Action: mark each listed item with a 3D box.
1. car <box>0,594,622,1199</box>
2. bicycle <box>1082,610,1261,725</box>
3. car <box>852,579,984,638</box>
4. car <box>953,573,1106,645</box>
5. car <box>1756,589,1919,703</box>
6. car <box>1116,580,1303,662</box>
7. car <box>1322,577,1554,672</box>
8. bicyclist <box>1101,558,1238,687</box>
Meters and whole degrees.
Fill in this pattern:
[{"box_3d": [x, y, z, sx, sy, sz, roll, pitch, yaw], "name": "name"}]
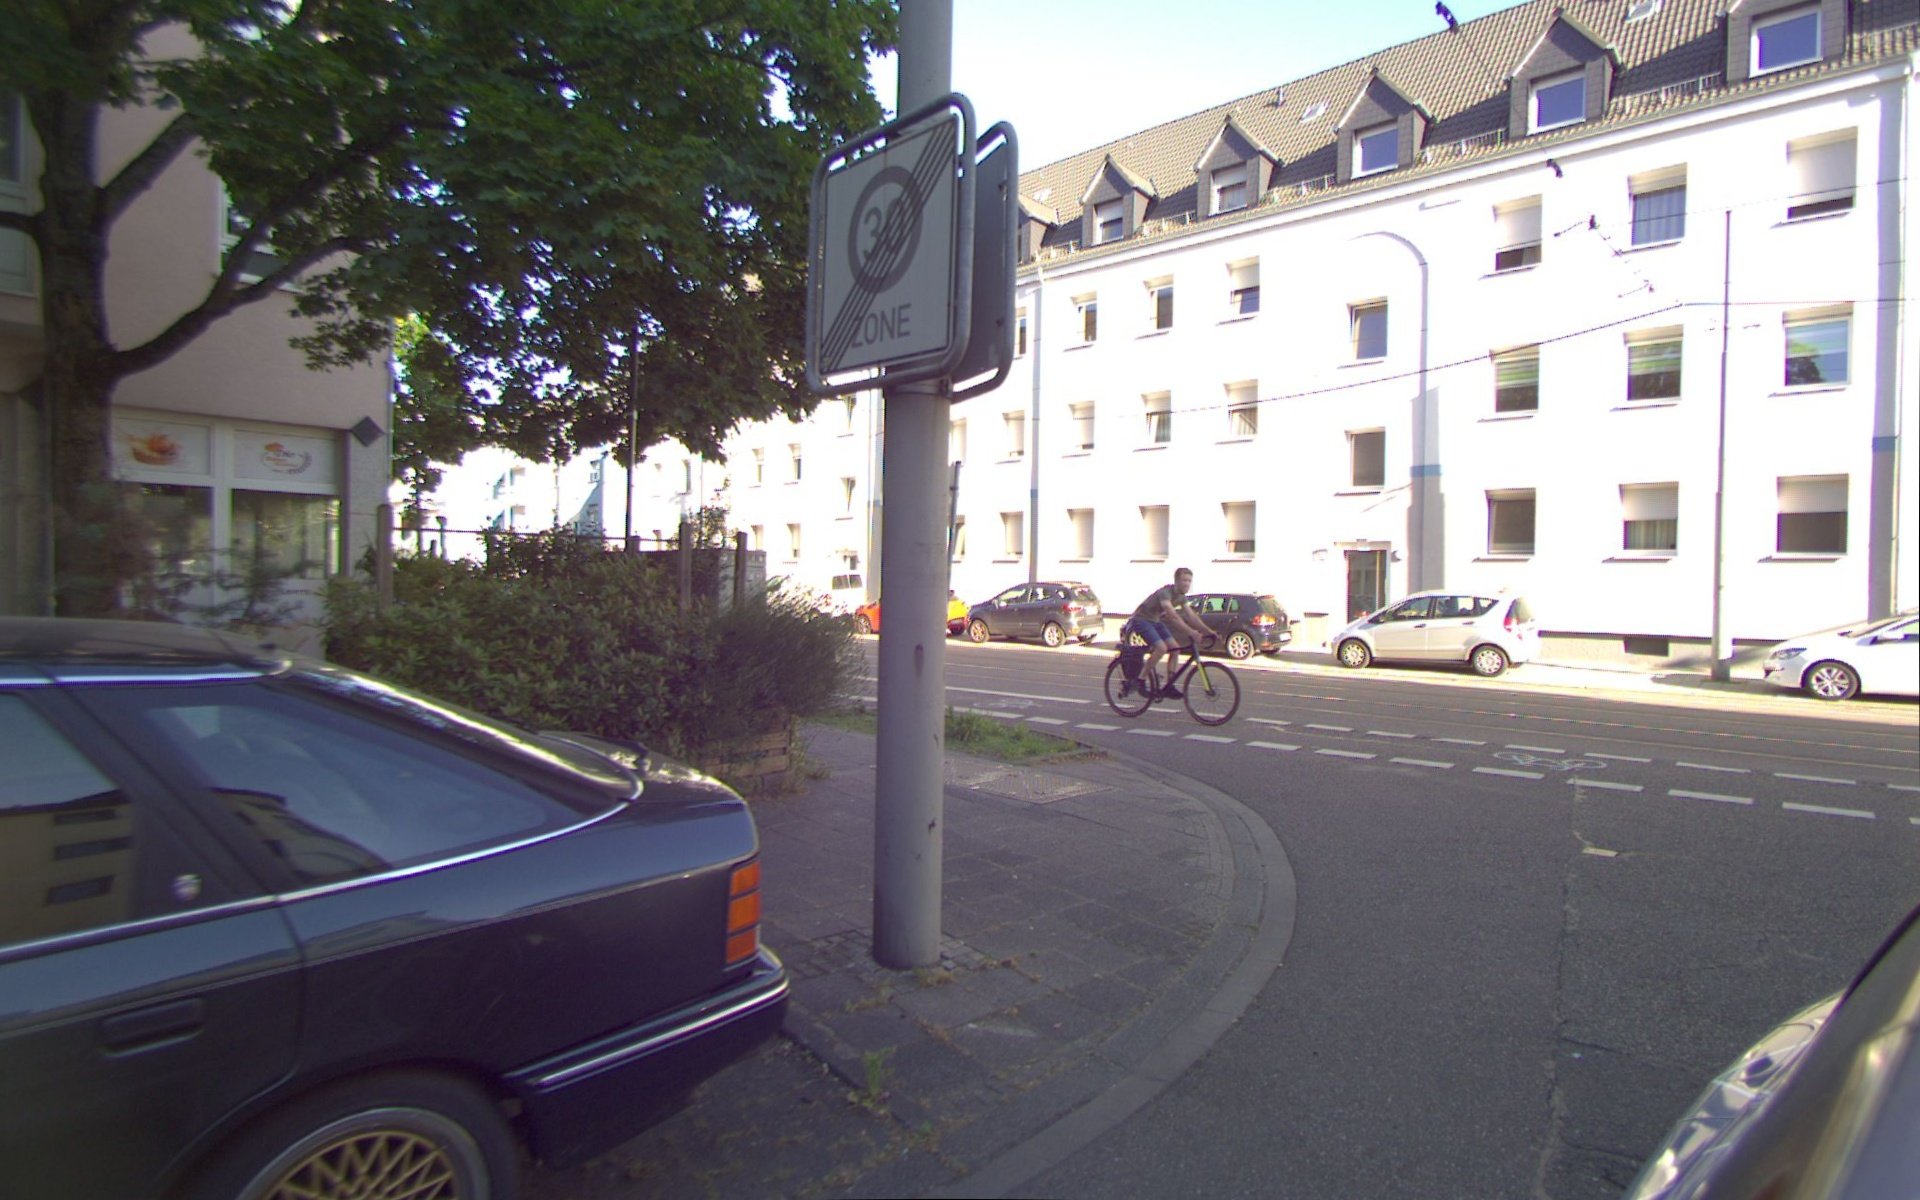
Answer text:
[{"box_3d": [-2.912, 0.718, 1.179, 4.492, 1.405, 1.711, -1, 1, -42], "name": "car"}, {"box_3d": [2.362, 0.717, 11.478, 1.952, 1.115, 0.615, 2, 3, 41], "name": "bicycle"}, {"box_3d": [-1.296, 0.191, 30.310, 3.765, 1.501, 1.775, 2, 5, 43], "name": "car"}, {"box_3d": [1.817, 0.176, 27.149, 3.887, 1.689, 1.643, 2, 5, 40], "name": "car"}, {"box_3d": [14.924, 0.697, 15.269, 4.492, 1.590, 1.660, 2, 3, 42], "name": "car"}, {"box_3d": [5.775, 0.414, 23.684, 3.992, 1.555, 1.574, 3, 6, 41], "name": "car"}, {"box_3d": [9.506, 0.408, 20.310, 3.891, 1.589, 1.734, 2, 5, 43], "name": "car"}, {"box_3d": [2.372, 0.216, 11.408, 1.090, 1.347, 1.170, 2, 1, 40], "name": "bicyclist"}]
